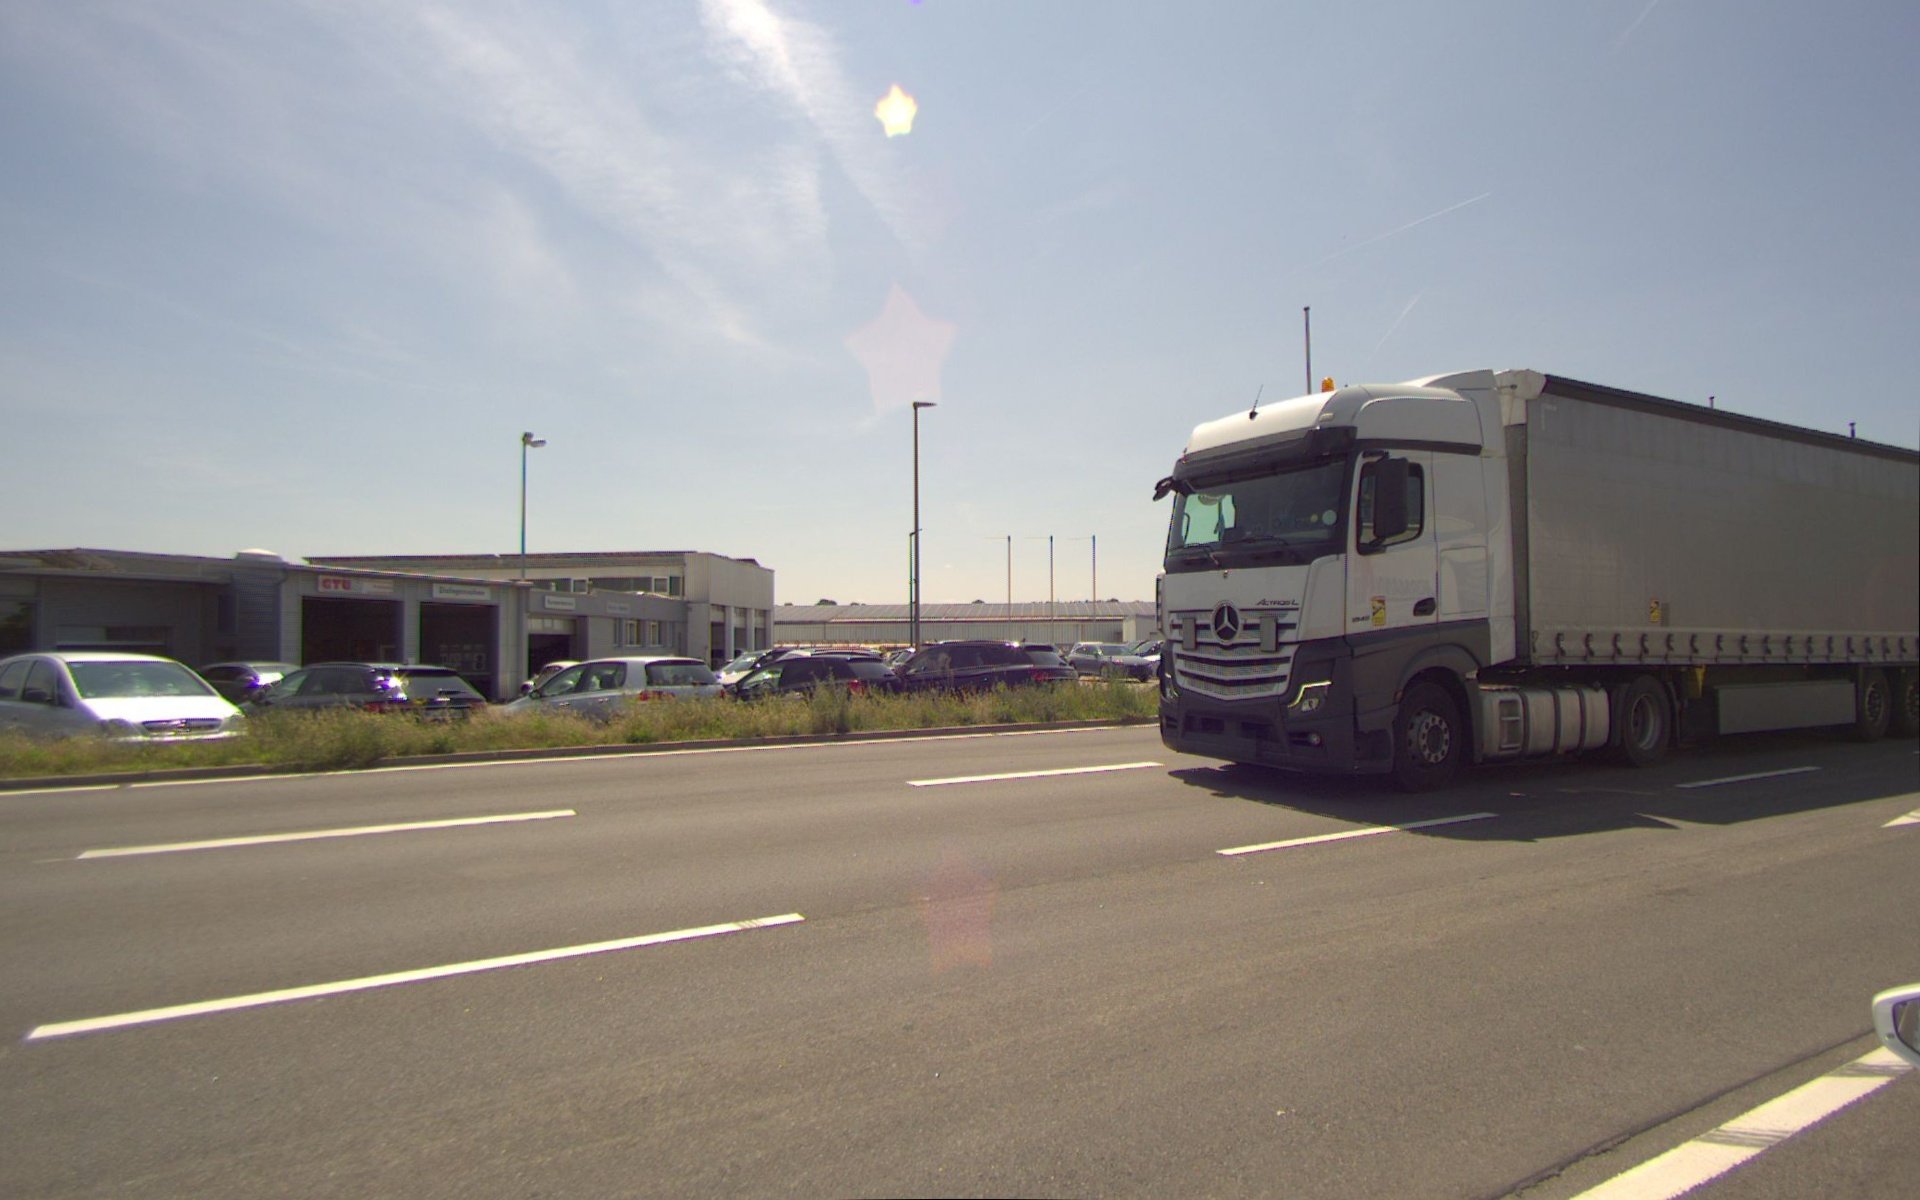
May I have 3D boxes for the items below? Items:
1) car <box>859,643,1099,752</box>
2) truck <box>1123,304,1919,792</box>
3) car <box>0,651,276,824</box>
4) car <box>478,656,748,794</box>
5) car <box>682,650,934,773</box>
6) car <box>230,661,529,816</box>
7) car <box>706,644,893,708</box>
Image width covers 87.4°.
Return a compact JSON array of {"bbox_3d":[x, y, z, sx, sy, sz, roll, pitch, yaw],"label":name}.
[{"bbox_3d":[0.313,1.603,17.492,3.799,1.708,1.798,-1,-3,29],"label":"car"},{"bbox_3d":[9.472,-0.183,13.364,16.285,3.940,2.777,2,-1,-30],"label":"truck"},{"bbox_3d":[-10.356,1.518,12.192,3.799,1.773,1.872,-1,-3,29],"label":"car"},{"bbox_3d":[-5.210,1.744,14.992,3.801,1.773,1.797,-2,-3,31],"label":"car"},{"bbox_3d":[-2.505,1.721,16.474,3.799,1.773,1.798,-1,-3,29],"label":"car"},{"bbox_3d":[-7.873,1.741,13.603,3.799,1.773,1.798,-1,-3,29],"label":"car"},{"bbox_3d":[-4.135,1.912,26.128,4.410,1.483,1.982,1,-1,-32],"label":"car"}]
